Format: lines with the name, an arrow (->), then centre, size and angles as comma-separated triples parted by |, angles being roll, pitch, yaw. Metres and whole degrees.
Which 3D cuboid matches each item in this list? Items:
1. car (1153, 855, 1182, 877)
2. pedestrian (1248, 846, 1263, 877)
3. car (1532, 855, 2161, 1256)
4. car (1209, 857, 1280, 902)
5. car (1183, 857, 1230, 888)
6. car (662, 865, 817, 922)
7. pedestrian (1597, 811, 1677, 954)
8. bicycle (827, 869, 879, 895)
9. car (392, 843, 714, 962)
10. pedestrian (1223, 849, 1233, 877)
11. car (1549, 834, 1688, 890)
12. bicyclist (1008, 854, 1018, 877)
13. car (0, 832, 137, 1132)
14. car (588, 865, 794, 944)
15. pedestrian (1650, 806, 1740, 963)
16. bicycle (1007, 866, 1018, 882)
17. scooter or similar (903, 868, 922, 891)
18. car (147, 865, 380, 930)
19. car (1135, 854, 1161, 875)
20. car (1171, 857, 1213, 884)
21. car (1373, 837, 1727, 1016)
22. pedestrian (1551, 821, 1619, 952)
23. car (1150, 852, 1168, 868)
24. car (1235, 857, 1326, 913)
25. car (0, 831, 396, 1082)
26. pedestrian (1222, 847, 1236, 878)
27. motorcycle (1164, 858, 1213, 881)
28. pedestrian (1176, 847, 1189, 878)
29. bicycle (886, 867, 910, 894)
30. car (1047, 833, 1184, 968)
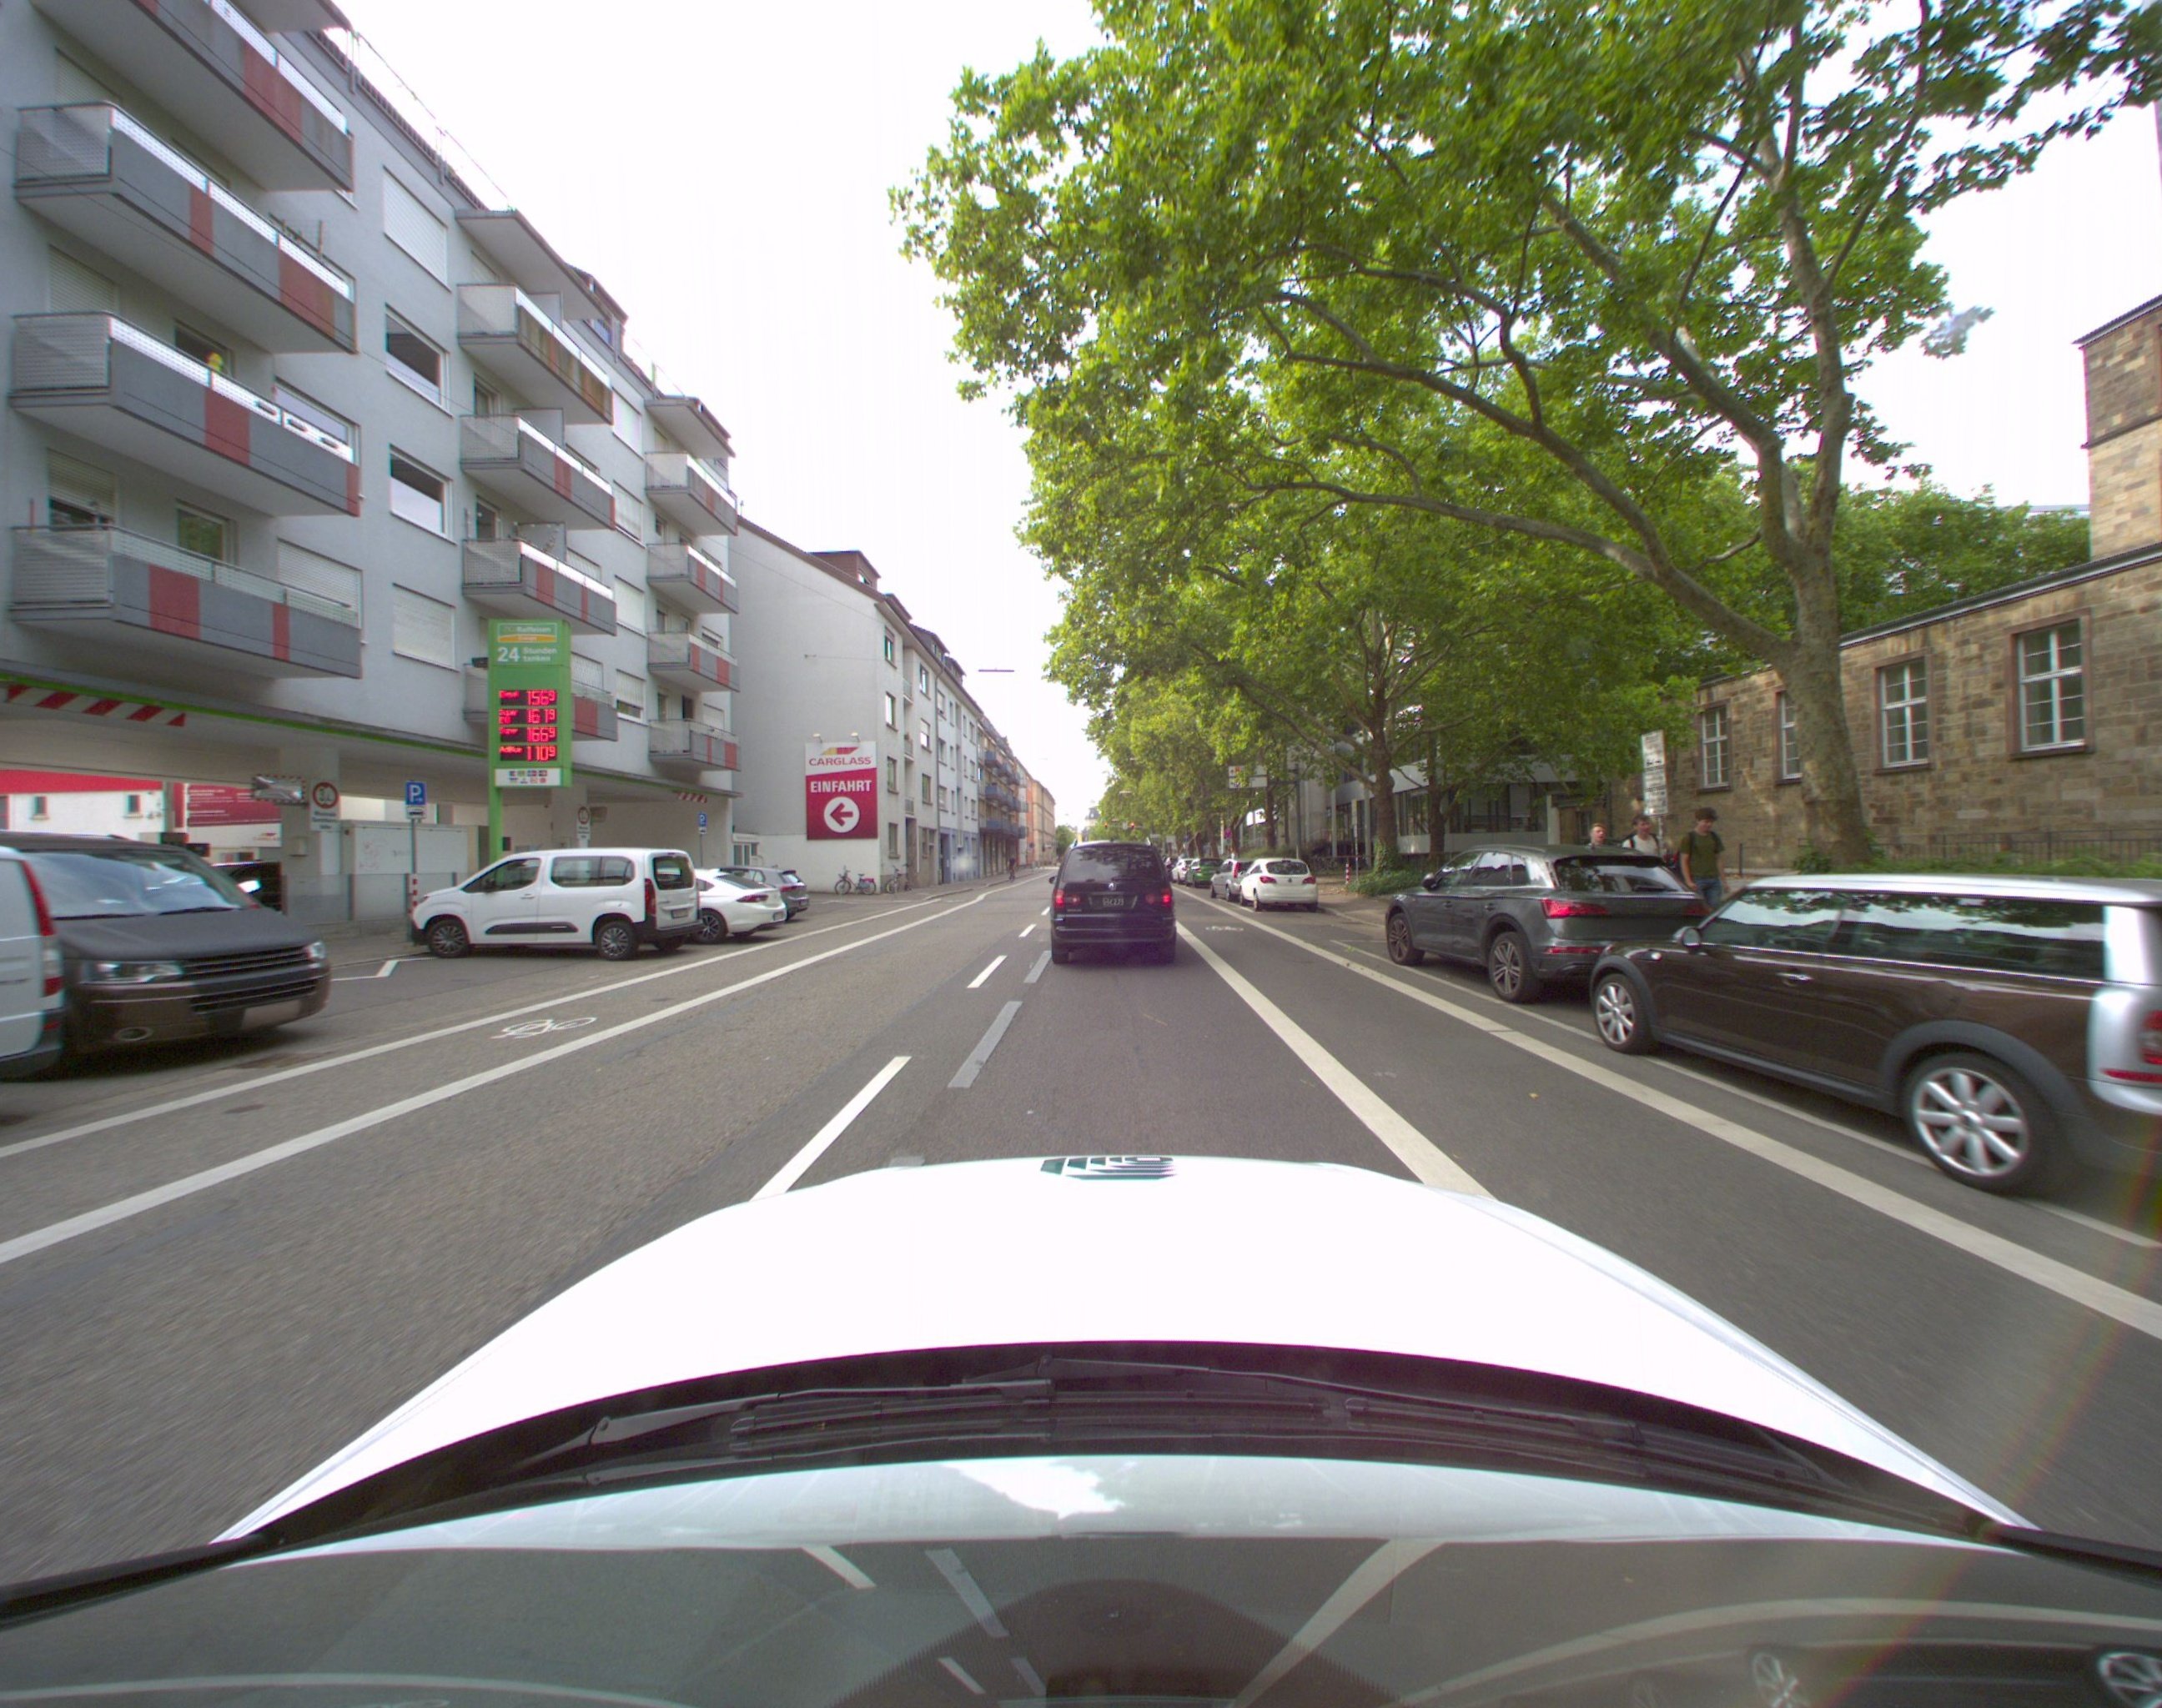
car -> 6.279, 0.854, 59.382 | 1.637, 1.487, 3.510 | 1, 0, -2
pedestrian -> 10.377, 0.422, 48.422 | 0.764, 1.831, 0.516 | -1, 0, 2
car -> 4.855, 0.757, 5.157 | 1.624, 1.470, 4.317 | -1, 0, 1
car -> 5.571, 0.824, 28.088 | 1.637, 1.413, 3.413 | 1, 0, -2
car -> 6.046, 0.856, 39.500 | 1.637, 1.413, 3.413 | 1, 0, -2
car -> -8.800, 1.008, 21.160 | 3.332, 1.402, 1.503 | 0, -1, -1
pedestrian -> 7.352, 0.356, 10.788 | 0.585, 1.838, 0.693 | 0, 1, 2
bicycle -> -9.381, 1.153, 33.547 | 2.000, 1.034, 0.410 | 0, 1, 2
car -> -8.930, 0.793, 14.062 | 4.293, 1.870, 1.824 | 1, 0, 0
pedestrian -> 9.050, 0.532, 50.030 | 0.508, 1.680, 0.516 | -1, 0, 2
car -> 15.150, 0.158, 23.216 | 1.466, 1.458, 3.919 | 0, 1, 2
bicyclist -> -4.691, 0.816, 56.425 | 0.651, 1.611, 0.656 | 0, -3, -1
car -> -9.036, 0.774, 4.838 | 4.509, 1.878, 2.048 | 1, 0, 2
car -> -7.752, 0.981, 16.396 | 3.332, 1.497, 1.596 | 0, -1, -1
pedestrian -> 7.969, 0.376, 10.593 | 0.640, 1.975, 0.693 | 0, 1, 2
bicycle -> -4.699, 1.381, 56.091 | 0.629, 1.034, 2.014 | 0, -3, -1
scooter or similar -> -7.834, 1.200, 37.925 | 0.630, 1.034, 2.012 | 0, -2, -4
car -> -20.554, 1.039, 20.750 | 1.773, 1.398, 4.002 | -1, 0, 2
car -> 5.602, 0.874, 68.732 | 1.738, 1.689, 3.801 | -1, 0, -2
car -> 5.973, 0.876, 44.127 | 1.637, 1.395, 3.510 | 1, 0, -2
car -> 5.183, 0.670, 9.838 | 1.663, 1.640, 4.503 | 1, 0, 0
pedestrian -> 6.700, 0.420, 10.851 | 0.585, 1.701, 0.508 | 0, 1, 2
car -> 8.922, 0.650, 93.100 | 1.781, 1.772, 4.002 | -1, 0, 2
car -> 5.619, 0.817, 23.470 | 1.669, 1.394, 4.463 | 1, 0, 2
car -> -9.425, 0.752, 7.249 | 4.899, 1.903, 2.000 | 1, 0, 0
pedestrian -> 8.774, 0.482, 48.269 | 0.764, 1.831, 0.516 | -1, 0, 2
motorcycle -> 6.349, 0.909, 48.215 | 2.827, 1.325, 0.765 | -1, 0, 1
pedestrian -> 6.181, 0.523, 49.618 | 0.764, 1.831, 0.516 | -1, 0, 2
bicycle -> -7.871, 1.135, 35.154 | 0.629, 1.034, 2.014 | 0, 1, -2
car -> 0.417, 0.615, 12.608 | 1.807, 1.766, 3.735 | 0, 0, -1
